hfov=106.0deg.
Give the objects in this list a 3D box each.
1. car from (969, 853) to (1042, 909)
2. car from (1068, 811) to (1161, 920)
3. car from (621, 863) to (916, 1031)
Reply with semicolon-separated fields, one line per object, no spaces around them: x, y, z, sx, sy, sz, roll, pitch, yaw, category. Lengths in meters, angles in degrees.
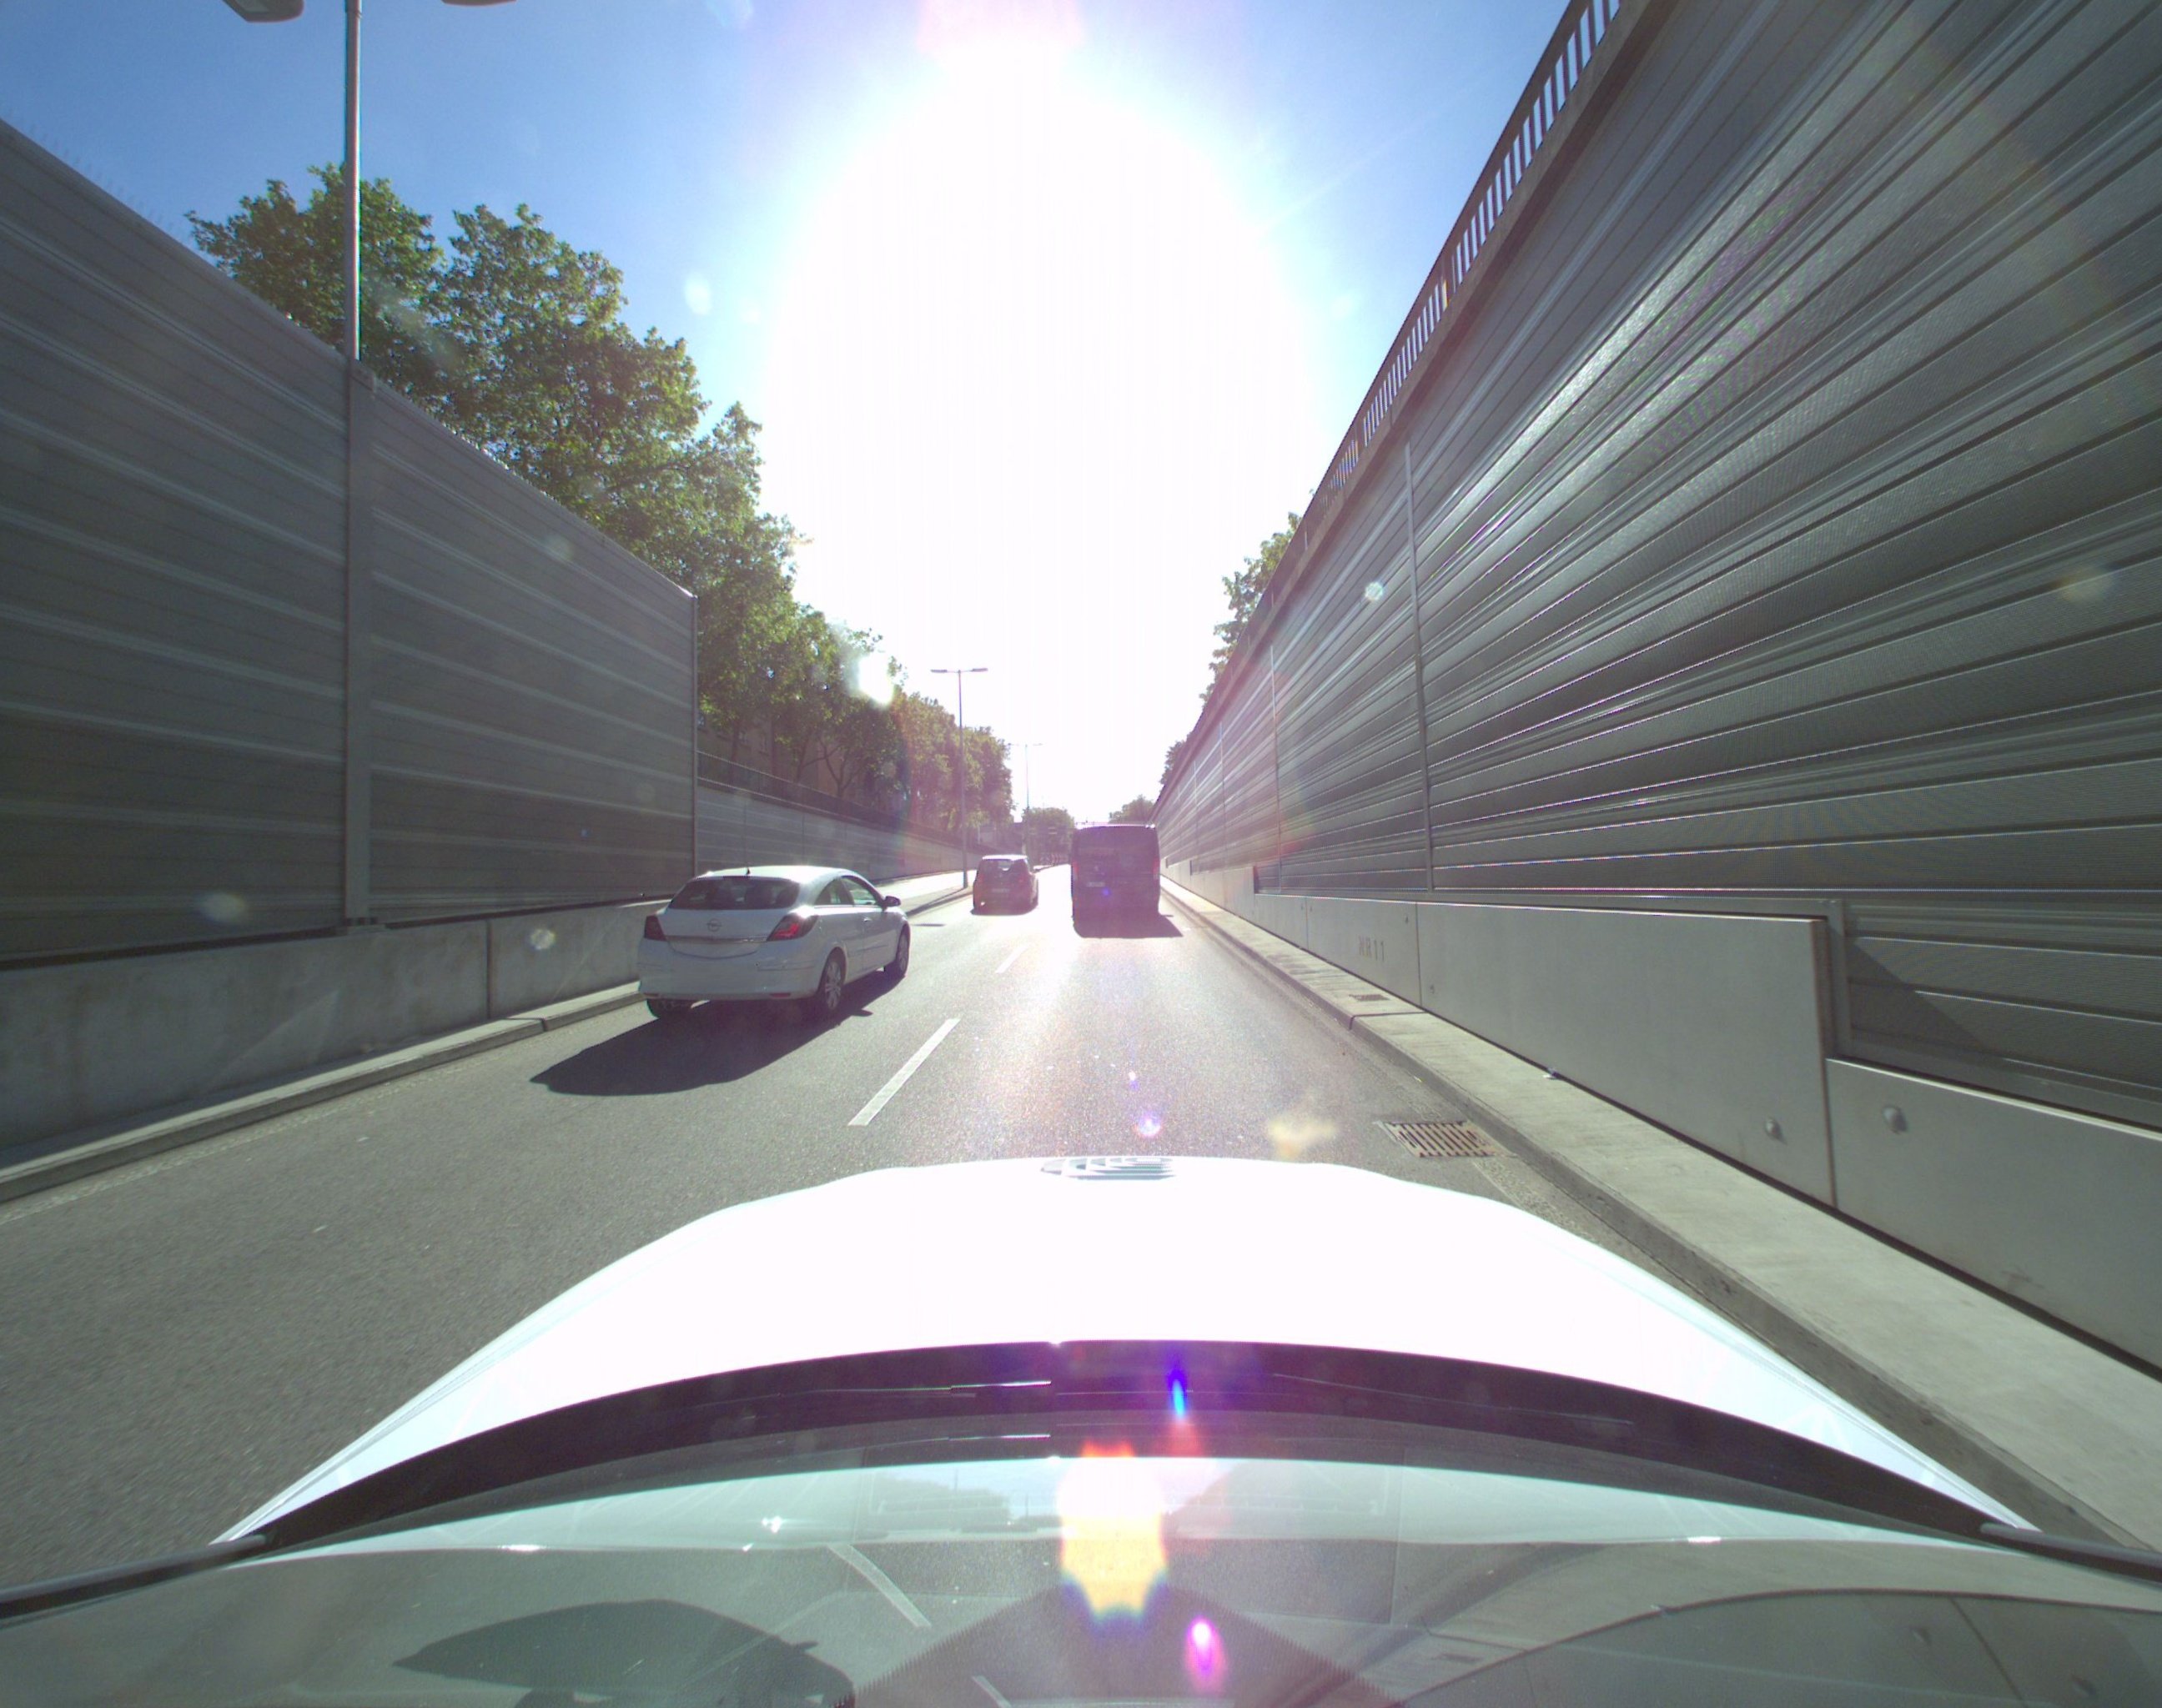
-2.117;0.726;23.590;1.683;1.483;3.320;-1;0;1;car
0.810;0.272;20.149;2.022;2.402;3.974;-1;-1;2;car
-3.055;0.813;8.865;1.613;1.403;3.853;-1;0;2;car
